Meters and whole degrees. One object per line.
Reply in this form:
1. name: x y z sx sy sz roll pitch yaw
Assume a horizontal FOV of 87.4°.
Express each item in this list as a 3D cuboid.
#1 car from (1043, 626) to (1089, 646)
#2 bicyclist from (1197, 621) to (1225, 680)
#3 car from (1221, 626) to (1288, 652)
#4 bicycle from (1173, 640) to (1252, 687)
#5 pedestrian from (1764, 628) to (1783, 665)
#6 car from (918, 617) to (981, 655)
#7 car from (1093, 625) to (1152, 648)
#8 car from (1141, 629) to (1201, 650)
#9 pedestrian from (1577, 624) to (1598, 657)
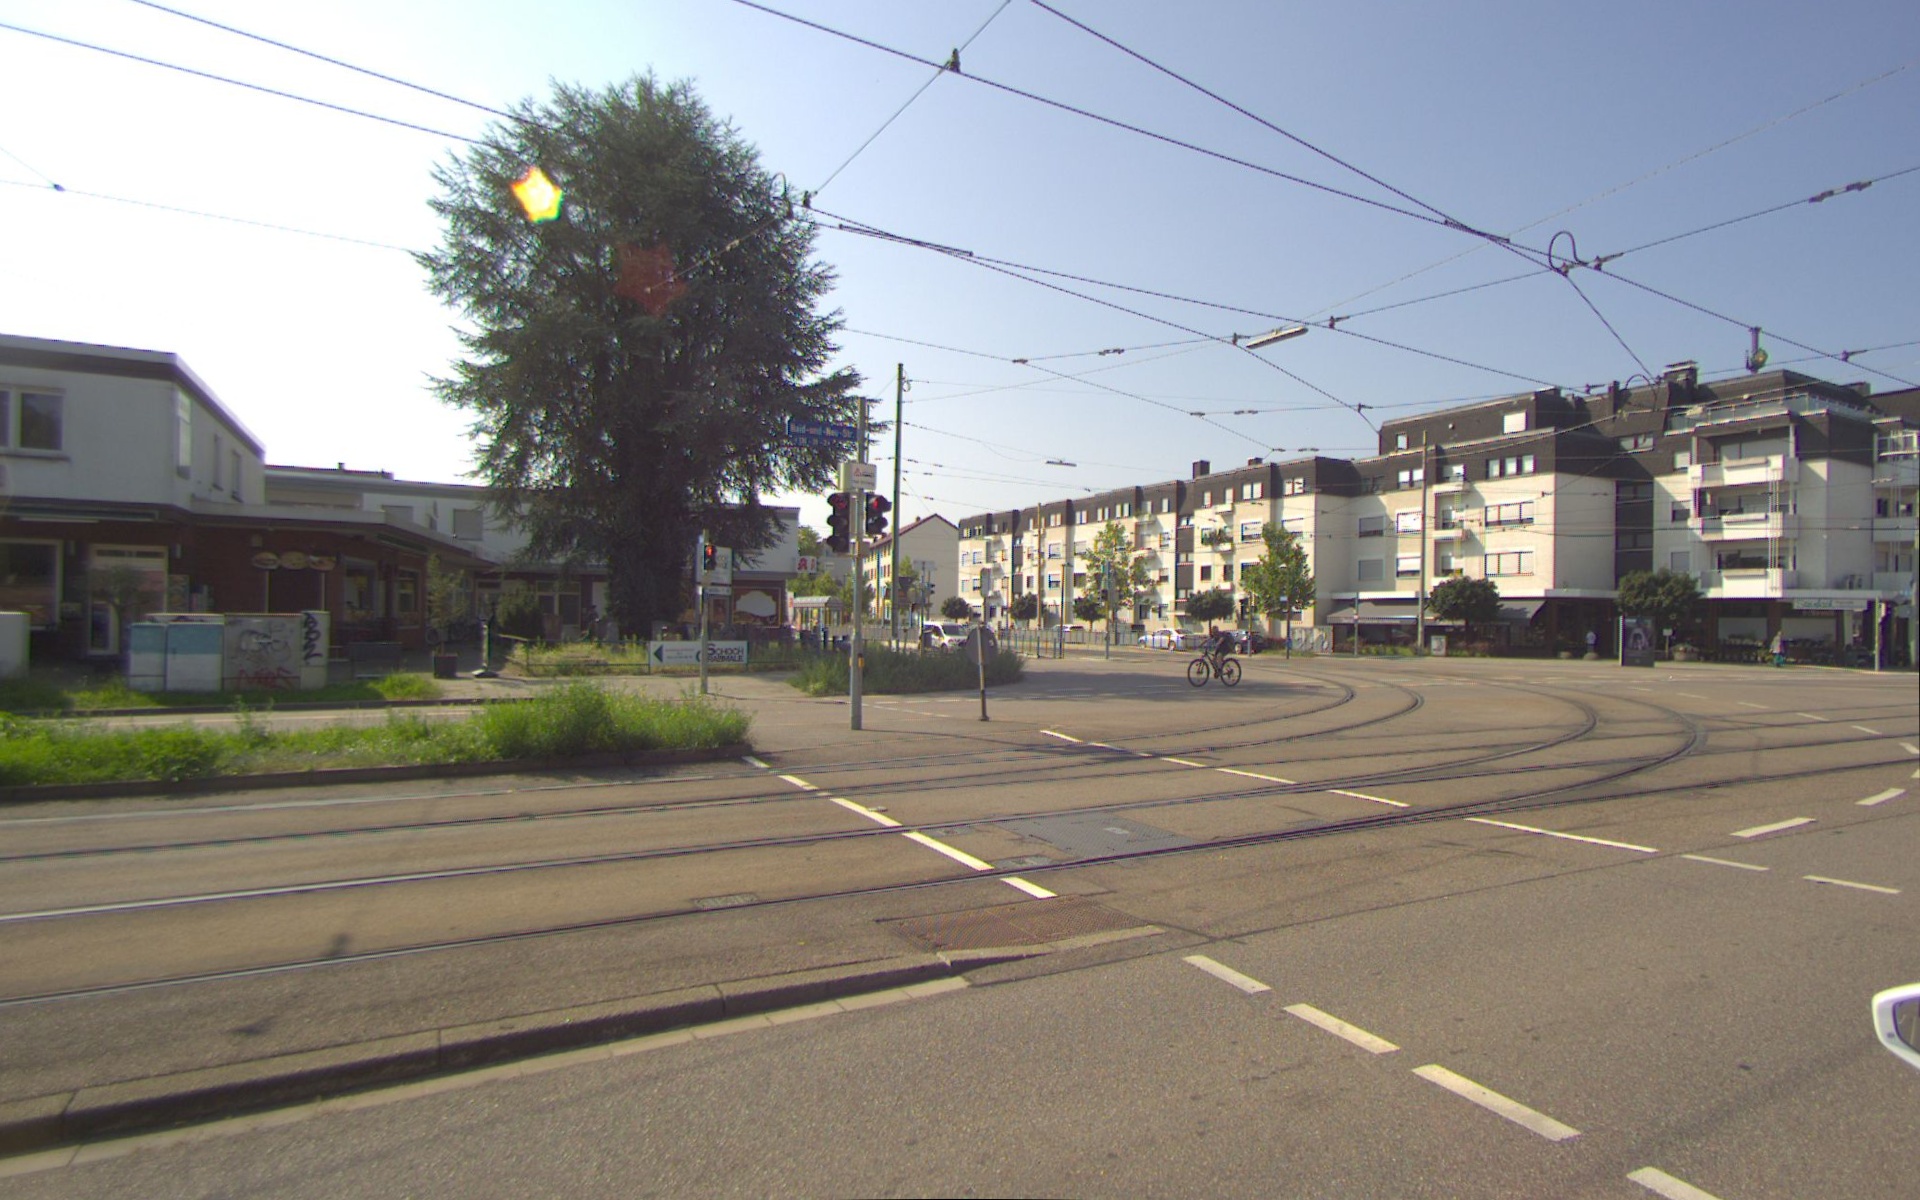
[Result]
1. car: 8.181 2.819 77.775 1.653 1.500 3.889 2 -3 -29
2. bicyclist: 6.631 1.325 26.532 0.483 1.543 0.566 2 -3 -27
3. car: 19.372 2.546 66.315 1.906 1.527 4.091 2 0 -29
4. bicycle: 6.690 1.663 26.550 2.179 1.195 0.573 1 -3 -27
5. pedestrian: 39.151 2.245 48.331 0.589 1.768 0.565 -1 -3 28
6. car: -0.609 1.888 53.443 1.799 1.911 4.000 1 -1 -26
7. car: 11.554 2.612 71.611 1.847 1.554 4.352 2 -3 -29
8. car: 13.902 2.615 66.377 1.653 1.316 4.092 2 -3 -28
9. pedestrian: 34.274 2.226 54.858 0.689 1.764 0.677 2 -3 -27
